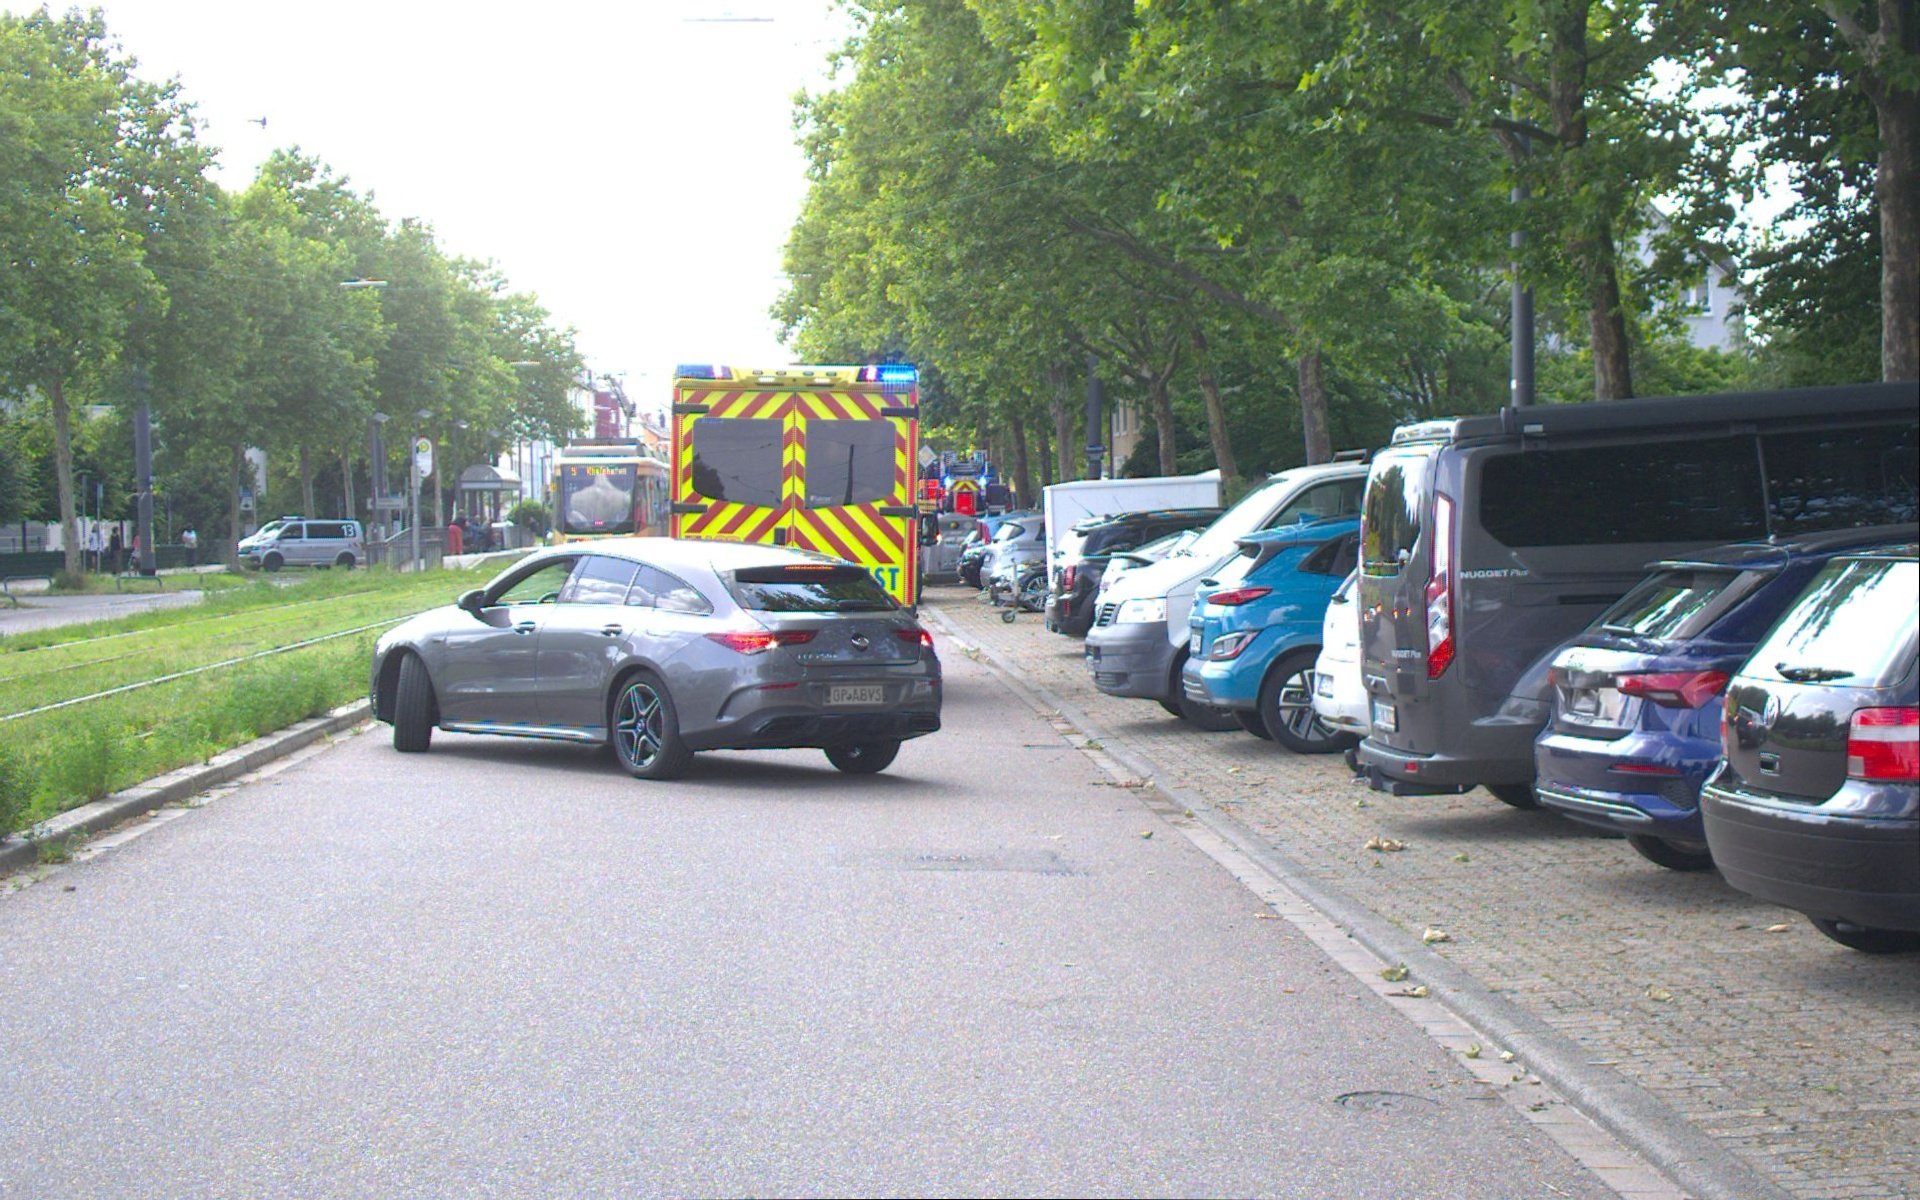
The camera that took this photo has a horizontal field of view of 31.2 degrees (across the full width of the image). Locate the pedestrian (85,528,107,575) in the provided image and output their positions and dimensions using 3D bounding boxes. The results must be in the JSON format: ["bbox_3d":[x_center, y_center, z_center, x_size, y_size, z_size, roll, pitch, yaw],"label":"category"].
[{"bbox_3d":[-26.273,-1.480,104.538,0.422,1.409,0.467,0,1,23],"label":"pedestrian"}]

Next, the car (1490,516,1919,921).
[{"bbox_3d":[4.312,0.394,13.952,3.965,1.489,1.756,-2,1,-2],"label":"car"}]

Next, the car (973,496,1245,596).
[{"bbox_3d":[2.603,-0.962,60.831,4.545,1.603,1.856,-2,1,-6],"label":"car"}]

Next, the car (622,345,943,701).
[{"bbox_3d":[-1.554,-0.720,32.534,2.641,2.956,6.300,2,1,-1],"label":"car"}]

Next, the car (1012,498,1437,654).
[{"bbox_3d":[2.981,-0.292,39.280,4.545,1.603,1.856,-2,1,-6],"label":"car"}]

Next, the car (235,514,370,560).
[{"bbox_3d":[-24.656,-2.360,129.010,4.615,1.627,1.882,-2,2,-41],"label":"car"}]

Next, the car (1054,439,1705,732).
[{"bbox_3d":[3.114,-0.133,26.053,4.545,1.994,1.856,-2,1,-6],"label":"car"}]

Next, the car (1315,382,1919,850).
[{"bbox_3d":[4.186,0.020,17.077,4.545,2.116,1.856,-2,1,-2],"label":"car"}]

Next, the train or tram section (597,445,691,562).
[{"bbox_3d":[-10.163,-3.053,111.110,2.511,3.572,7.446,-2,1,-2],"label":"train or tram section"}]

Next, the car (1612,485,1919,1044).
[{"bbox_3d":[4.340,0.391,11.133,3.964,1.600,1.757,-2,1,-12],"label":"car"}]

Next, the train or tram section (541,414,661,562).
[{"bbox_3d":[-9.200,-2.816,88.807,2.511,3.572,7.446,-2,1,-2],"label":"train or tram section"}]

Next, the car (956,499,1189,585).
[{"bbox_3d":[2.291,-1.193,70.676,4.545,1.603,1.856,-2,1,-6],"label":"car"}]

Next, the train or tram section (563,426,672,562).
[{"bbox_3d":[-9.529,-2.895,96.233,2.511,3.572,7.446,-2,1,-2],"label":"train or tram section"}]

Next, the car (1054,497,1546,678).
[{"bbox_3d":[3.325,-0.147,34.131,4.545,1.603,1.856,-2,1,-6],"label":"car"}]

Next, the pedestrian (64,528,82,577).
[{"bbox_3d":[-26.476,-1.421,102.655,0.421,1.468,0.467,-1,1,-7],"label":"pedestrian"}]

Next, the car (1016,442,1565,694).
[{"bbox_3d":[2.891,-0.303,30.641,4.545,2.036,1.856,-2,1,-6],"label":"car"}]

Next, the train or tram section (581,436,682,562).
[{"bbox_3d":[-9.849,-2.974,103.673,2.511,3.572,7.446,-2,1,-2],"label":"train or tram section"}]

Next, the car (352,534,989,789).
[{"bbox_3d":[-1.942,0.315,21.763,1.761,1.381,4.466,0,2,-40],"label":"car"}]

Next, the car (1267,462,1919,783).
[{"bbox_3d":[4.284,0.092,21.017,4.545,1.760,1.856,-2,1,-2],"label":"car"}]

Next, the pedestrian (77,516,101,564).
[{"bbox_3d":[-28.482,-1.951,112.380,0.632,1.545,0.622,-1,1,-5],"label":"pedestrian"}]

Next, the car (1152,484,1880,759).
[{"bbox_3d":[3.740,0.111,23.537,4.545,1.654,1.856,-2,1,-6],"label":"car"}]

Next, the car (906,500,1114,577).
[{"bbox_3d":[1.129,-1.424,78.879,4.545,1.603,1.856,-2,1,-6],"label":"car"}]

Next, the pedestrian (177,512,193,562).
[{"bbox_3d":[-28.131,-2.295,124.736,0.466,1.822,0.423,-1,1,-4],"label":"pedestrian"}]
